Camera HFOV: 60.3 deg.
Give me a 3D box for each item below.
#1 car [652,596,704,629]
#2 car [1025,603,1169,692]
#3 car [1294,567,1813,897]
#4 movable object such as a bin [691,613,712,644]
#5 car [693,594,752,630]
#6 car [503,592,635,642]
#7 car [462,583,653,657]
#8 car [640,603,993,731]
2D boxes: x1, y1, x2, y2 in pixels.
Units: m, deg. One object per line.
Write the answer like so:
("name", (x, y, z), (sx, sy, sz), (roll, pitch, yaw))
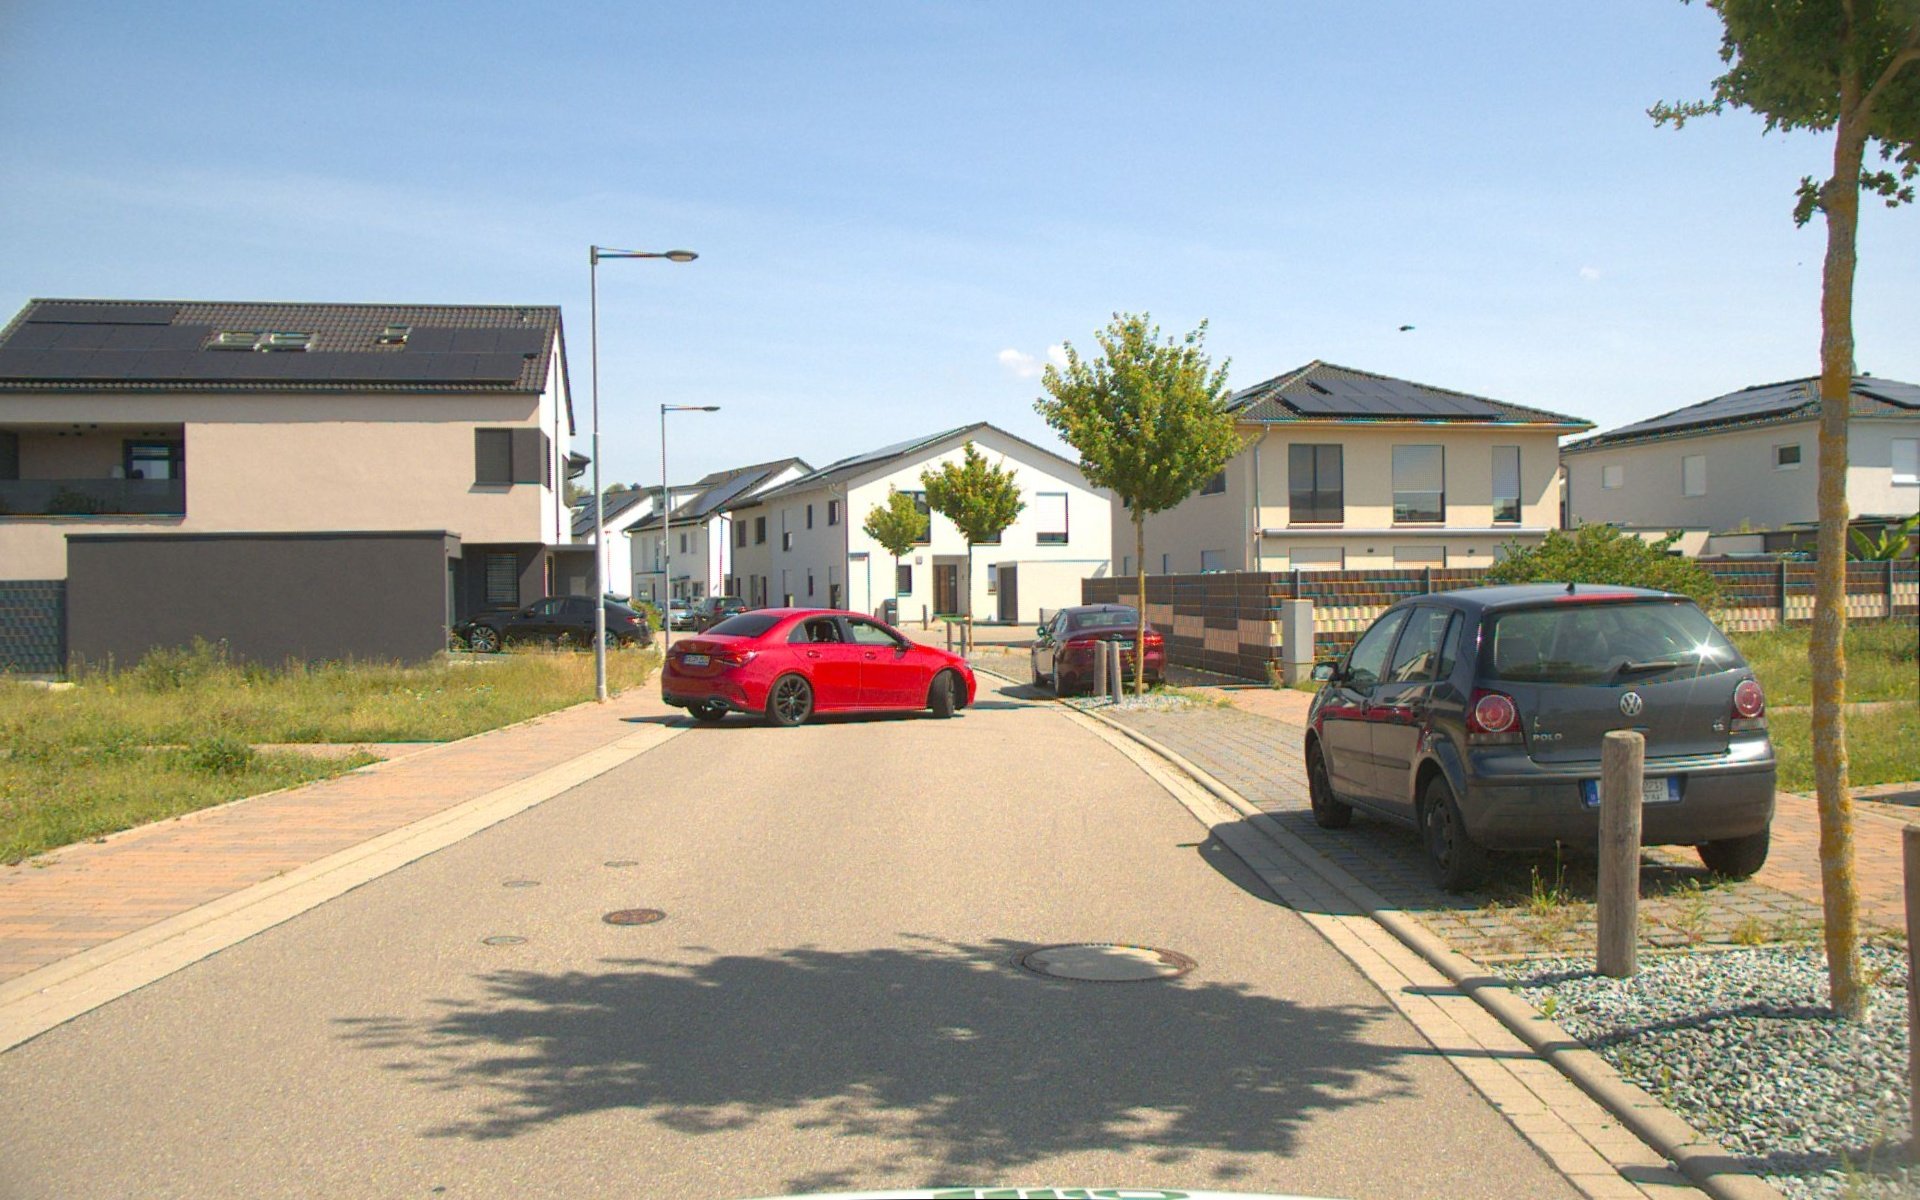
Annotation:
("car", (-13.601, 0.609, 79.639), (1.654, 1.489, 3.918), (-2, 0, -22))
("car", (2.258, 0.762, 28.411), (1.720, 1.387, 4.571), (0, 0, -5))
("car", (3.080, 0.597, 9.368), (1.566, 1.501, 3.674), (0, 0, -1))
("movable object such as a bin", (-7.905, 0.867, 50.624), (0.523, 0.952, 0.526), (1, 0, 1))
("car", (-10.118, 0.513, 70.330), (1.701, 1.447, 3.977), (-2, 0, -19))
("car", (-12.466, 0.532, 52.879), (3.911, 1.512, 1.752), (-1, 0, -7))
("car", (-9.718, 0.485, 40.196), (4.294, 1.660, 1.767), (2, 0, -9))
("car", (-1.734, 0.769, 21.190), (1.739, 1.463, 4.487), (0, 0, 45))
